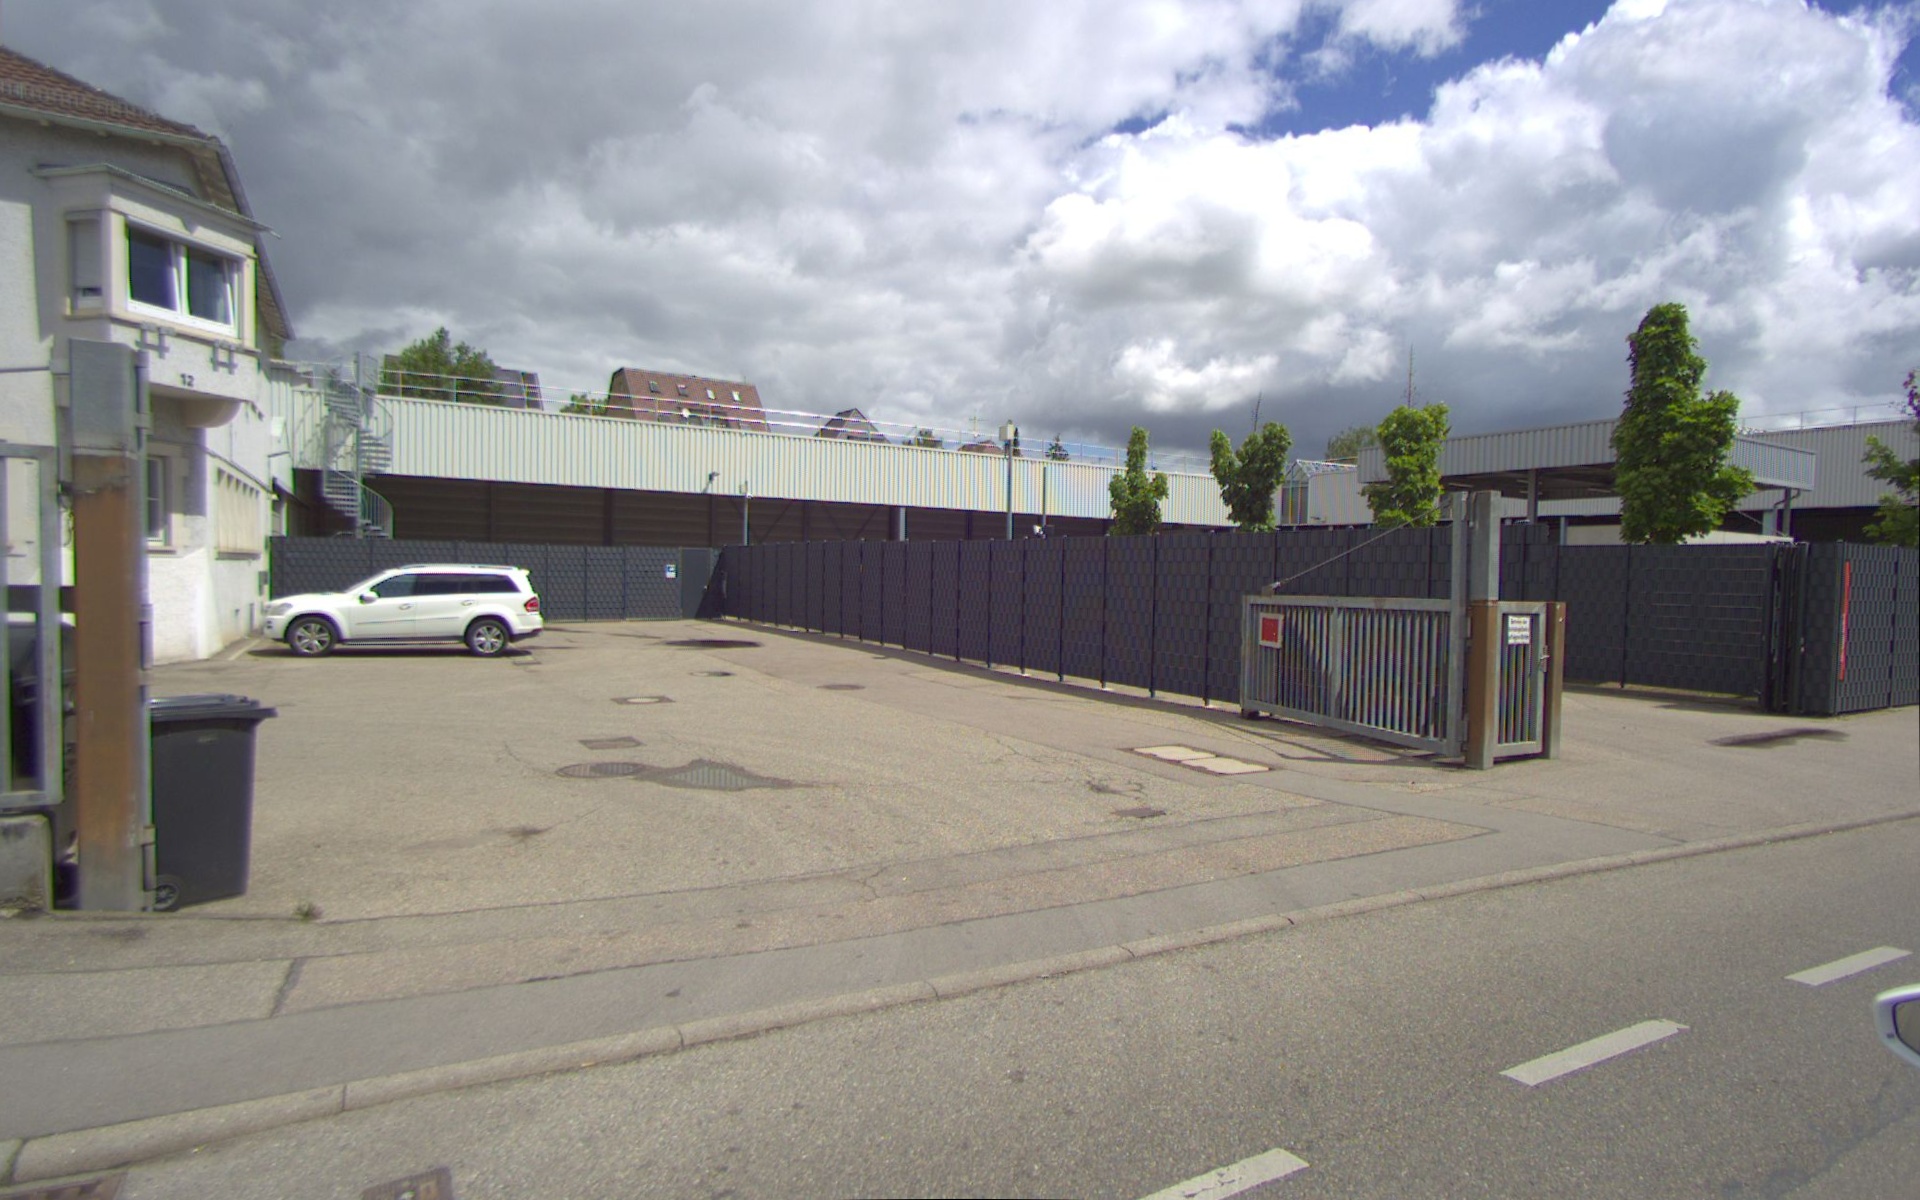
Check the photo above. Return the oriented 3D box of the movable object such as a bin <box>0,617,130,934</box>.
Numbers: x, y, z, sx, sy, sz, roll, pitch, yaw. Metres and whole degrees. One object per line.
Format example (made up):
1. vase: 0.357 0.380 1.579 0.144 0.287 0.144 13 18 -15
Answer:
1. movable object such as a bin: -4.844 0.788 4.763 1.200 1.411 0.987 1 -1 -29

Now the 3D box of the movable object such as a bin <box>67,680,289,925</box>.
1. movable object such as a bin: -3.994 0.984 5.211 0.731 1.064 0.869 1 -1 -26

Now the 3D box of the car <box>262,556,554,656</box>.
1. car: -11.258 0.152 20.791 5.037 1.856 1.984 2 1 -31
